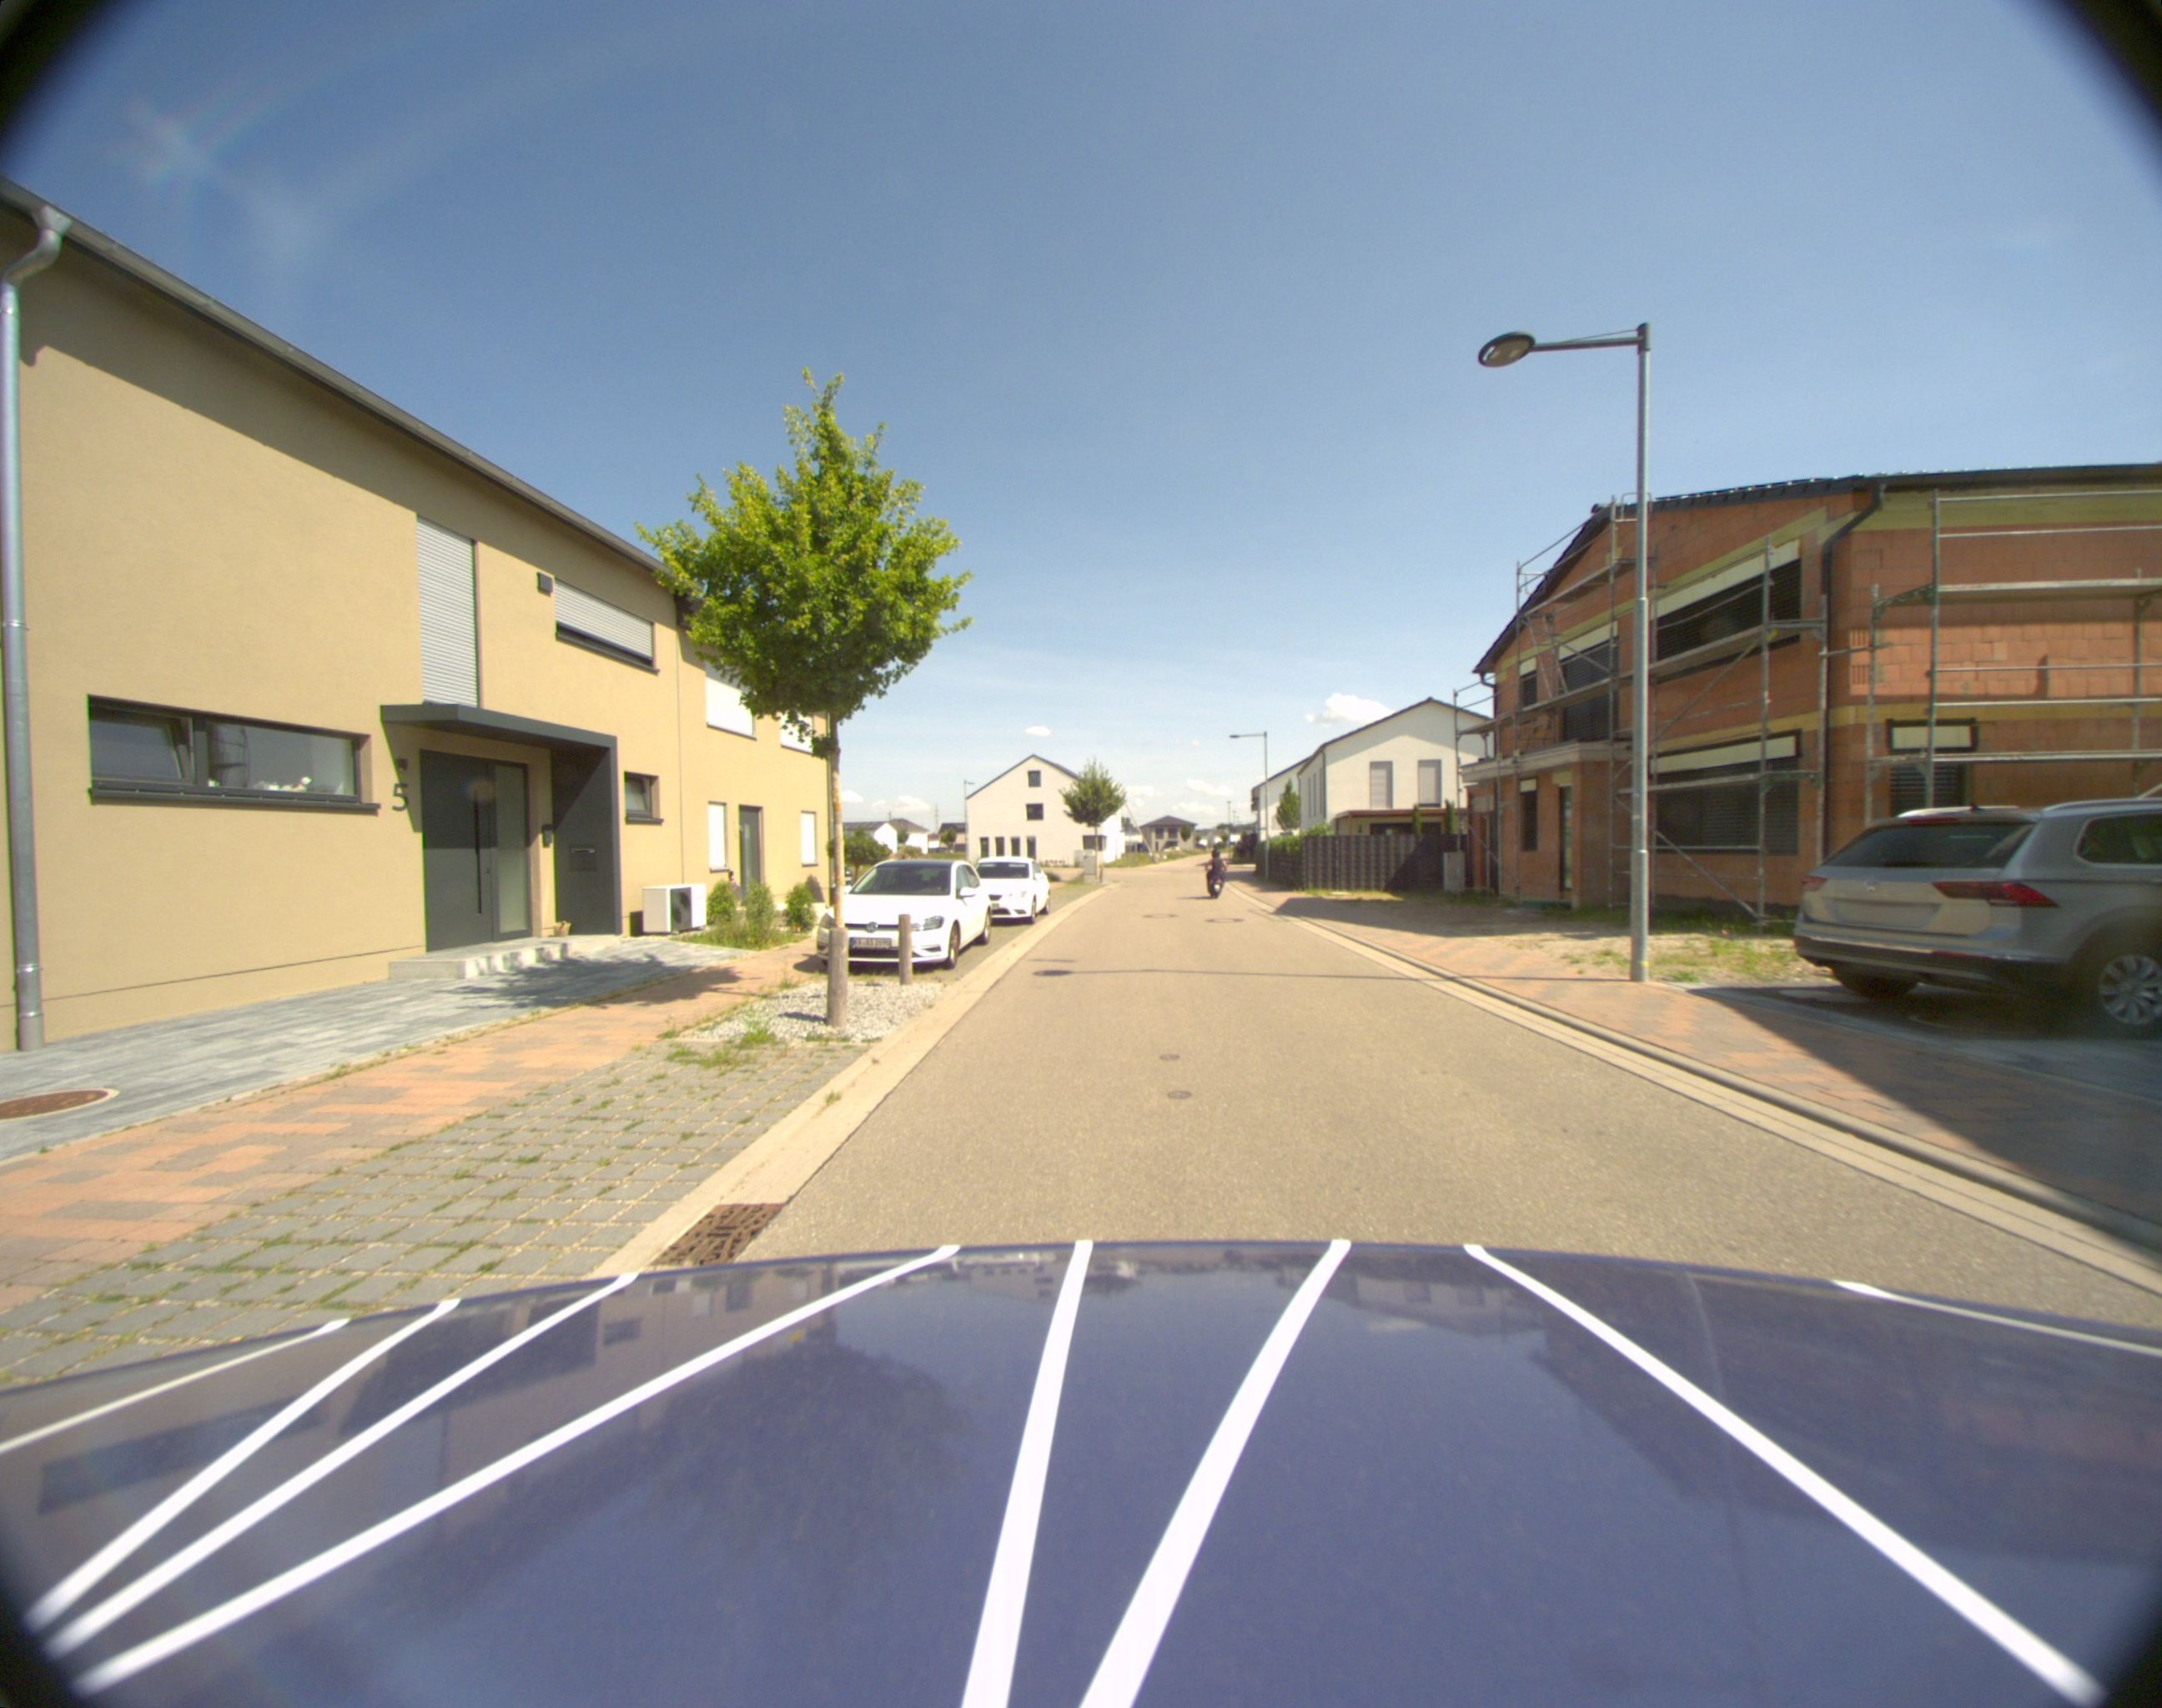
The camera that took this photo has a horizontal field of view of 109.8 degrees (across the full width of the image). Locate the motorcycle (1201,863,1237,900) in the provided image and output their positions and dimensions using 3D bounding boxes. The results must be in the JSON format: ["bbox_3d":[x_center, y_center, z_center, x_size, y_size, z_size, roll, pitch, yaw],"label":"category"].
[{"bbox_3d":[4.302,0.822,23.881,0.957,1.029,2.438,-3,0,8],"label":"motorcycle"}]

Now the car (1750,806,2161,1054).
[{"bbox_3d":[8.313,0.469,5.915,4.436,1.603,2.000,-1,1,0],"label":"car"}]

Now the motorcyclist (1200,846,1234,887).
[{"bbox_3d":[4.256,0.376,23.836,0.926,1.215,0.804,-3,0,7],"label":"motorcyclist"}]

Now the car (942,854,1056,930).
[{"bbox_3d":[-1.746,0.777,17.730,1.818,1.447,4.565,0,1,5],"label":"car"}]

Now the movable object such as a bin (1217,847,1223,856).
[{"bbox_3d":[15.061,-0.263,82.174,0.597,0.916,0.462,-1,1,14],"label":"movable object such as a bin"}]

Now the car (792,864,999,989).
[{"bbox_3d":[-2.488,0.897,11.439,1.783,1.417,4.515,0,0,3],"label":"car"}]

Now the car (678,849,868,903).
[{"bbox_3d":[-9.165,0.622,22.816,4.897,1.418,2.001,1,1,6],"label":"car"}]
